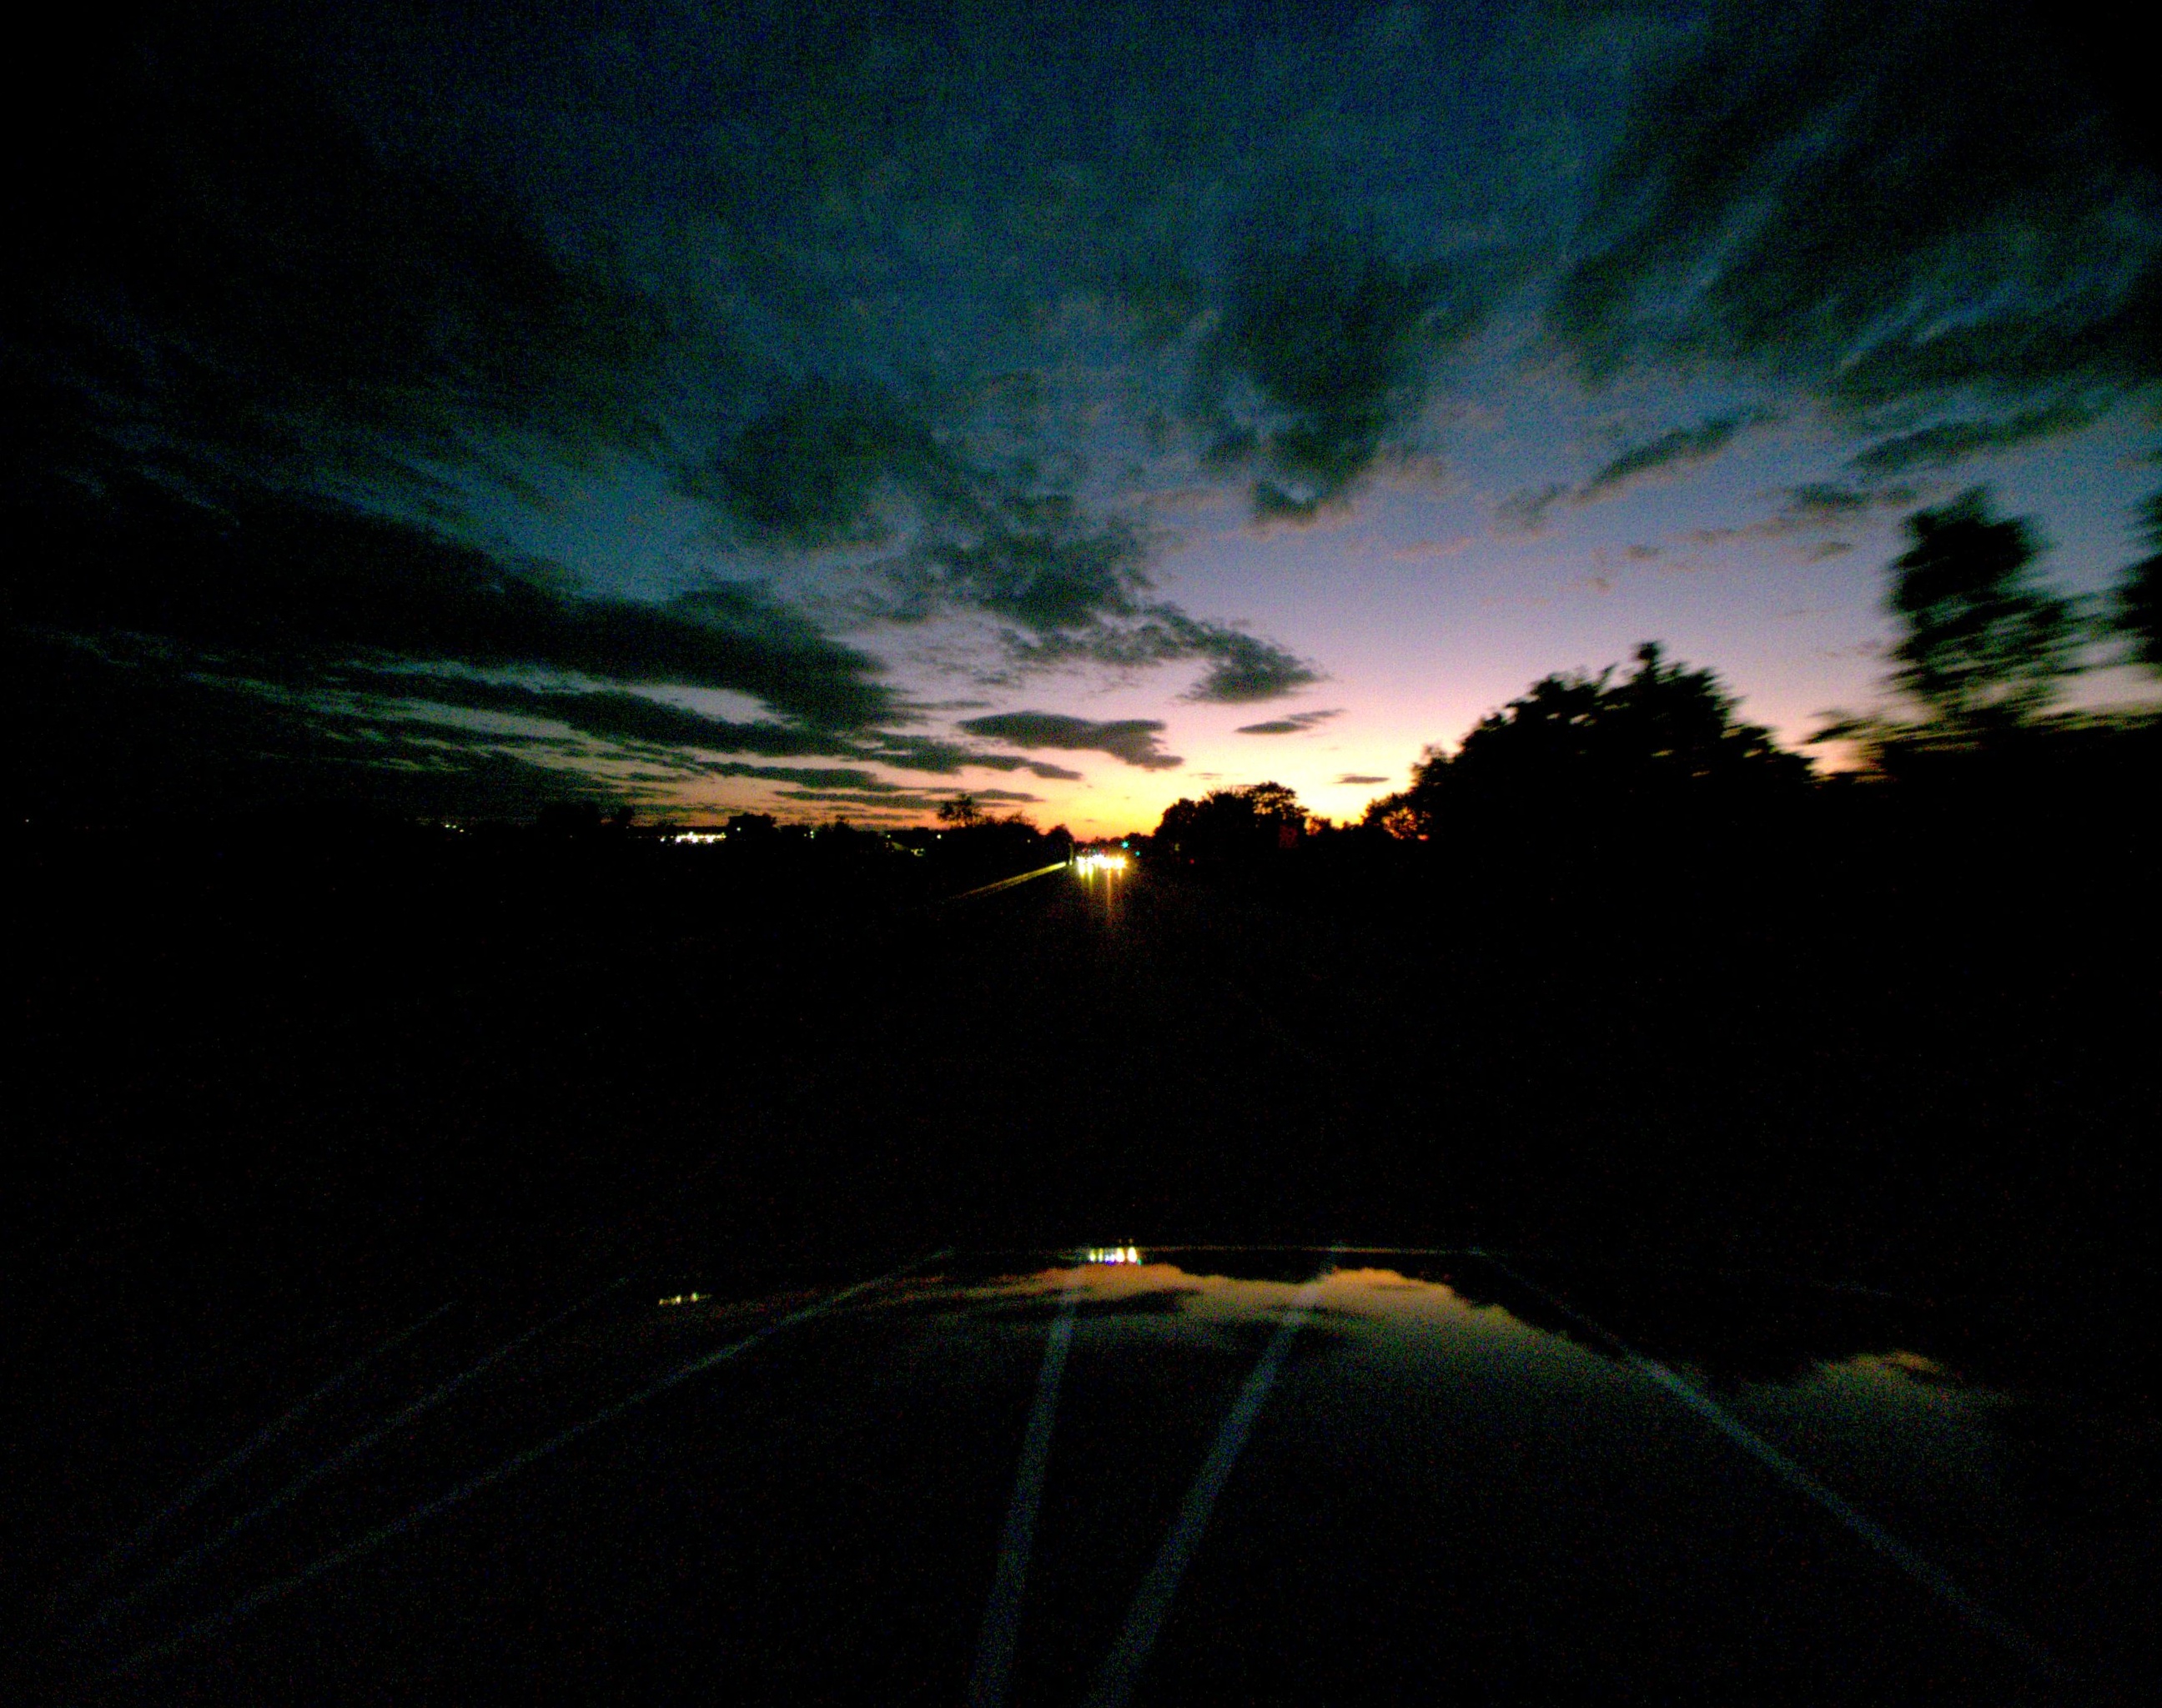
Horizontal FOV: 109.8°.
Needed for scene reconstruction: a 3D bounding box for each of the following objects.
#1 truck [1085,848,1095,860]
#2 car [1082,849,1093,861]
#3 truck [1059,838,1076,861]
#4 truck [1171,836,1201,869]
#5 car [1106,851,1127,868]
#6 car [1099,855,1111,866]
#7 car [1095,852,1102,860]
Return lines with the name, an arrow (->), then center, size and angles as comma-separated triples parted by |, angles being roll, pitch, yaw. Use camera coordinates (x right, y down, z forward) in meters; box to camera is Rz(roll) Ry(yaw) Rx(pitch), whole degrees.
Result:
truck -> 2.927, -0.108, 249.075 | 3.016, 3.674, 9.057 | -2, 1, 0
car -> 1.068, 0.180, 129.342 | 1.741, 2.002, 4.000 | -2, 0, 0
truck -> -2.255, -0.750, 131.350 | 2.490, 3.778, 5.498 | -2, 1, 2
truck -> 17.622, -0.282, 127.971 | 3.210, 5.225, 12.607 | -2, 1, 0
car -> 3.682, 0.546, 79.296 | 1.998, 1.635, 4.296 | -2, 1, 0
car -> 4.117, 1.112, 132.167 | 1.998, 1.778, 4.000 | -2, 1, 1
car -> 5.315, 0.589, 228.648 | 1.998, 2.002, 4.000 | -2, 1, 2
